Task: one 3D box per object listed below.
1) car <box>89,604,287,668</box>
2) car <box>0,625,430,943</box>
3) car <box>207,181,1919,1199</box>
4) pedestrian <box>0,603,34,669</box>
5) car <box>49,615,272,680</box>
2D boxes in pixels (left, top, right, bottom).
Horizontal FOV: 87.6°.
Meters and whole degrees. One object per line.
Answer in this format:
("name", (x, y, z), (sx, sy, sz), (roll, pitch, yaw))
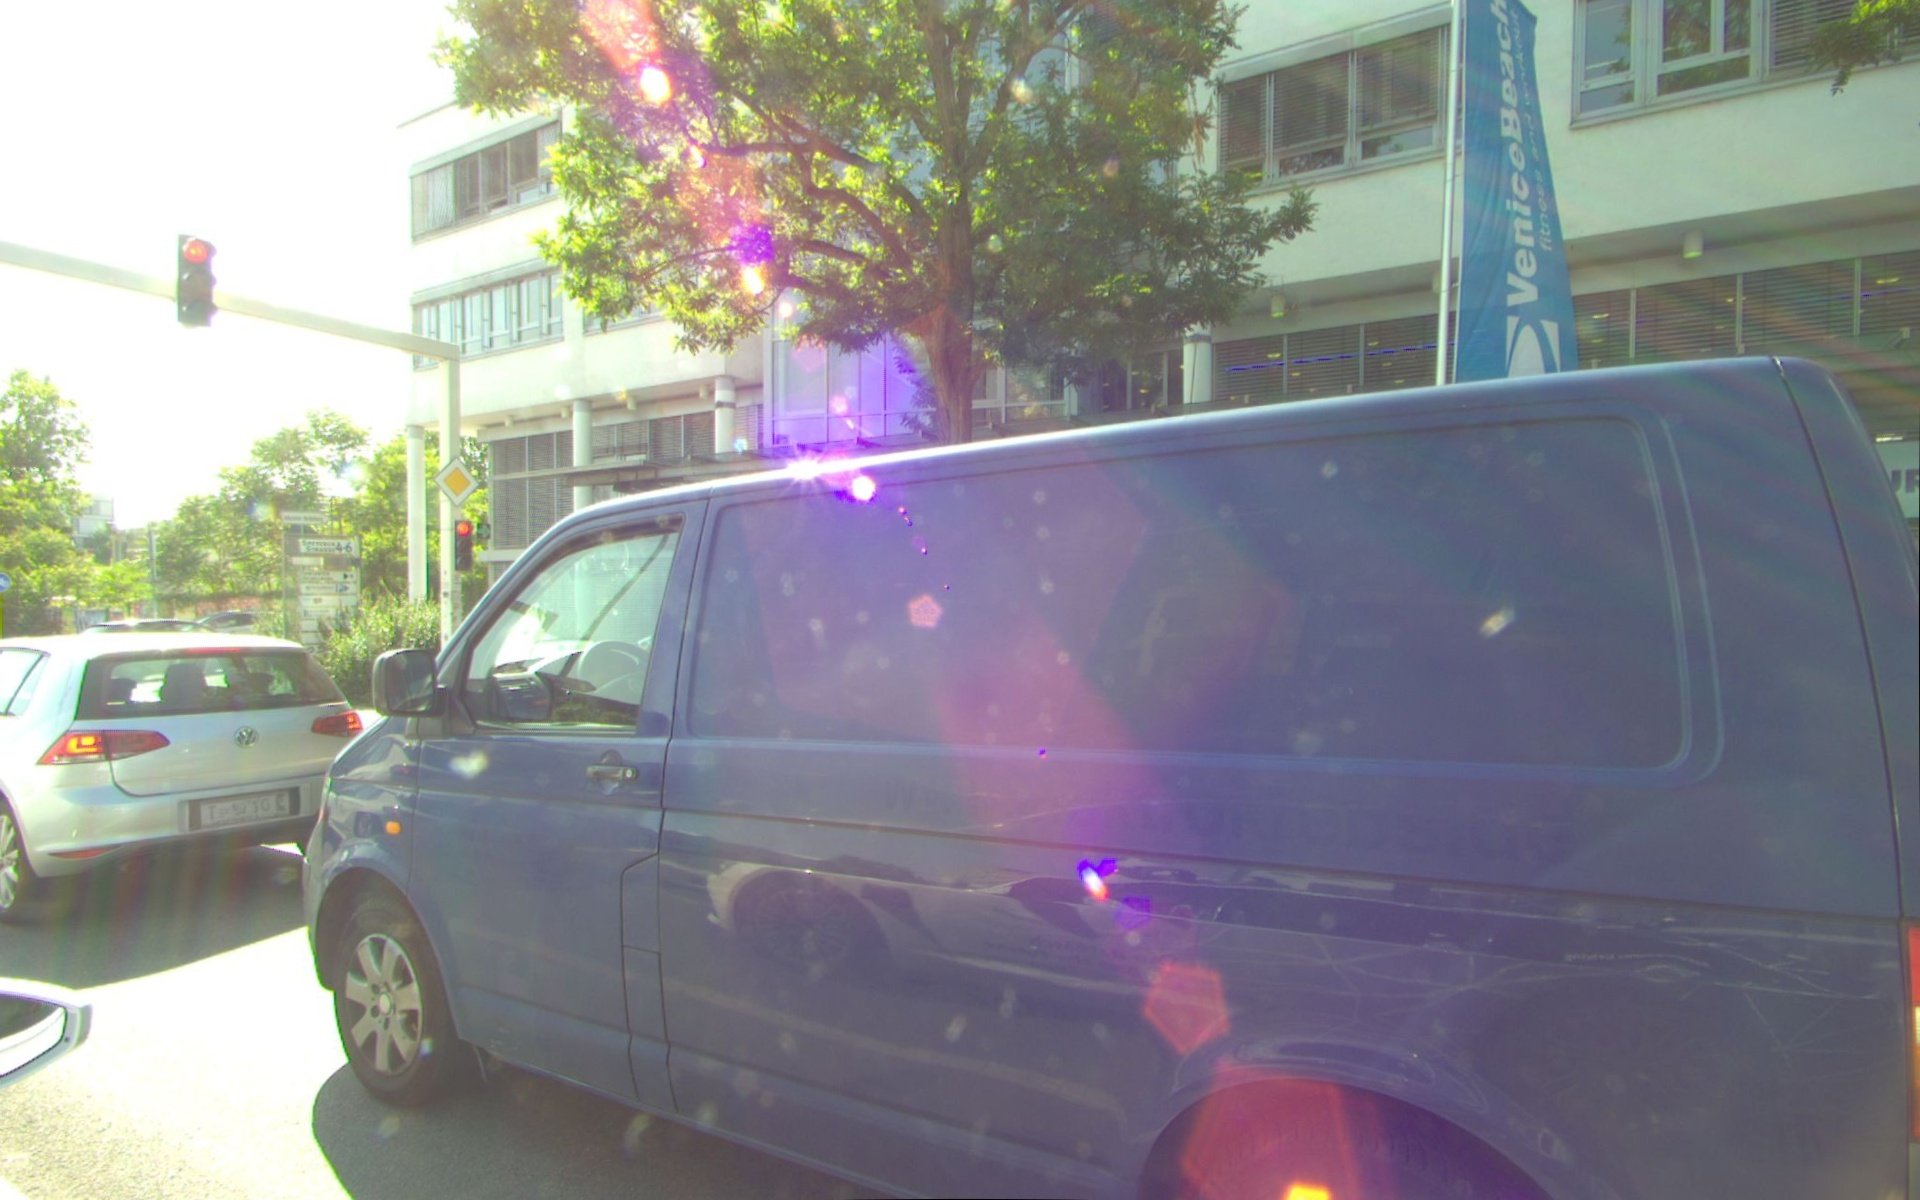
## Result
("car", (-23.019, 1.004, 29.992), (1.978, 1.572, 4.392), (-1, 2, 43))
("car", (-5.462, 0.920, 6.425), (3.940, 1.448, 1.805), (-1, -1, 30))
("car", (-0.172, 0.541, 3.207), (4.821, 1.973, 1.989), (-1, -1, 32))
("pedestrian", (-30.233, 1.129, 31.744), (1.023, 2.040, 1.025), (0, 0, 32))
("car", (-20.234, 1.141, 25.531), (1.967, 1.461, 3.987), (-1, 0, 24))
